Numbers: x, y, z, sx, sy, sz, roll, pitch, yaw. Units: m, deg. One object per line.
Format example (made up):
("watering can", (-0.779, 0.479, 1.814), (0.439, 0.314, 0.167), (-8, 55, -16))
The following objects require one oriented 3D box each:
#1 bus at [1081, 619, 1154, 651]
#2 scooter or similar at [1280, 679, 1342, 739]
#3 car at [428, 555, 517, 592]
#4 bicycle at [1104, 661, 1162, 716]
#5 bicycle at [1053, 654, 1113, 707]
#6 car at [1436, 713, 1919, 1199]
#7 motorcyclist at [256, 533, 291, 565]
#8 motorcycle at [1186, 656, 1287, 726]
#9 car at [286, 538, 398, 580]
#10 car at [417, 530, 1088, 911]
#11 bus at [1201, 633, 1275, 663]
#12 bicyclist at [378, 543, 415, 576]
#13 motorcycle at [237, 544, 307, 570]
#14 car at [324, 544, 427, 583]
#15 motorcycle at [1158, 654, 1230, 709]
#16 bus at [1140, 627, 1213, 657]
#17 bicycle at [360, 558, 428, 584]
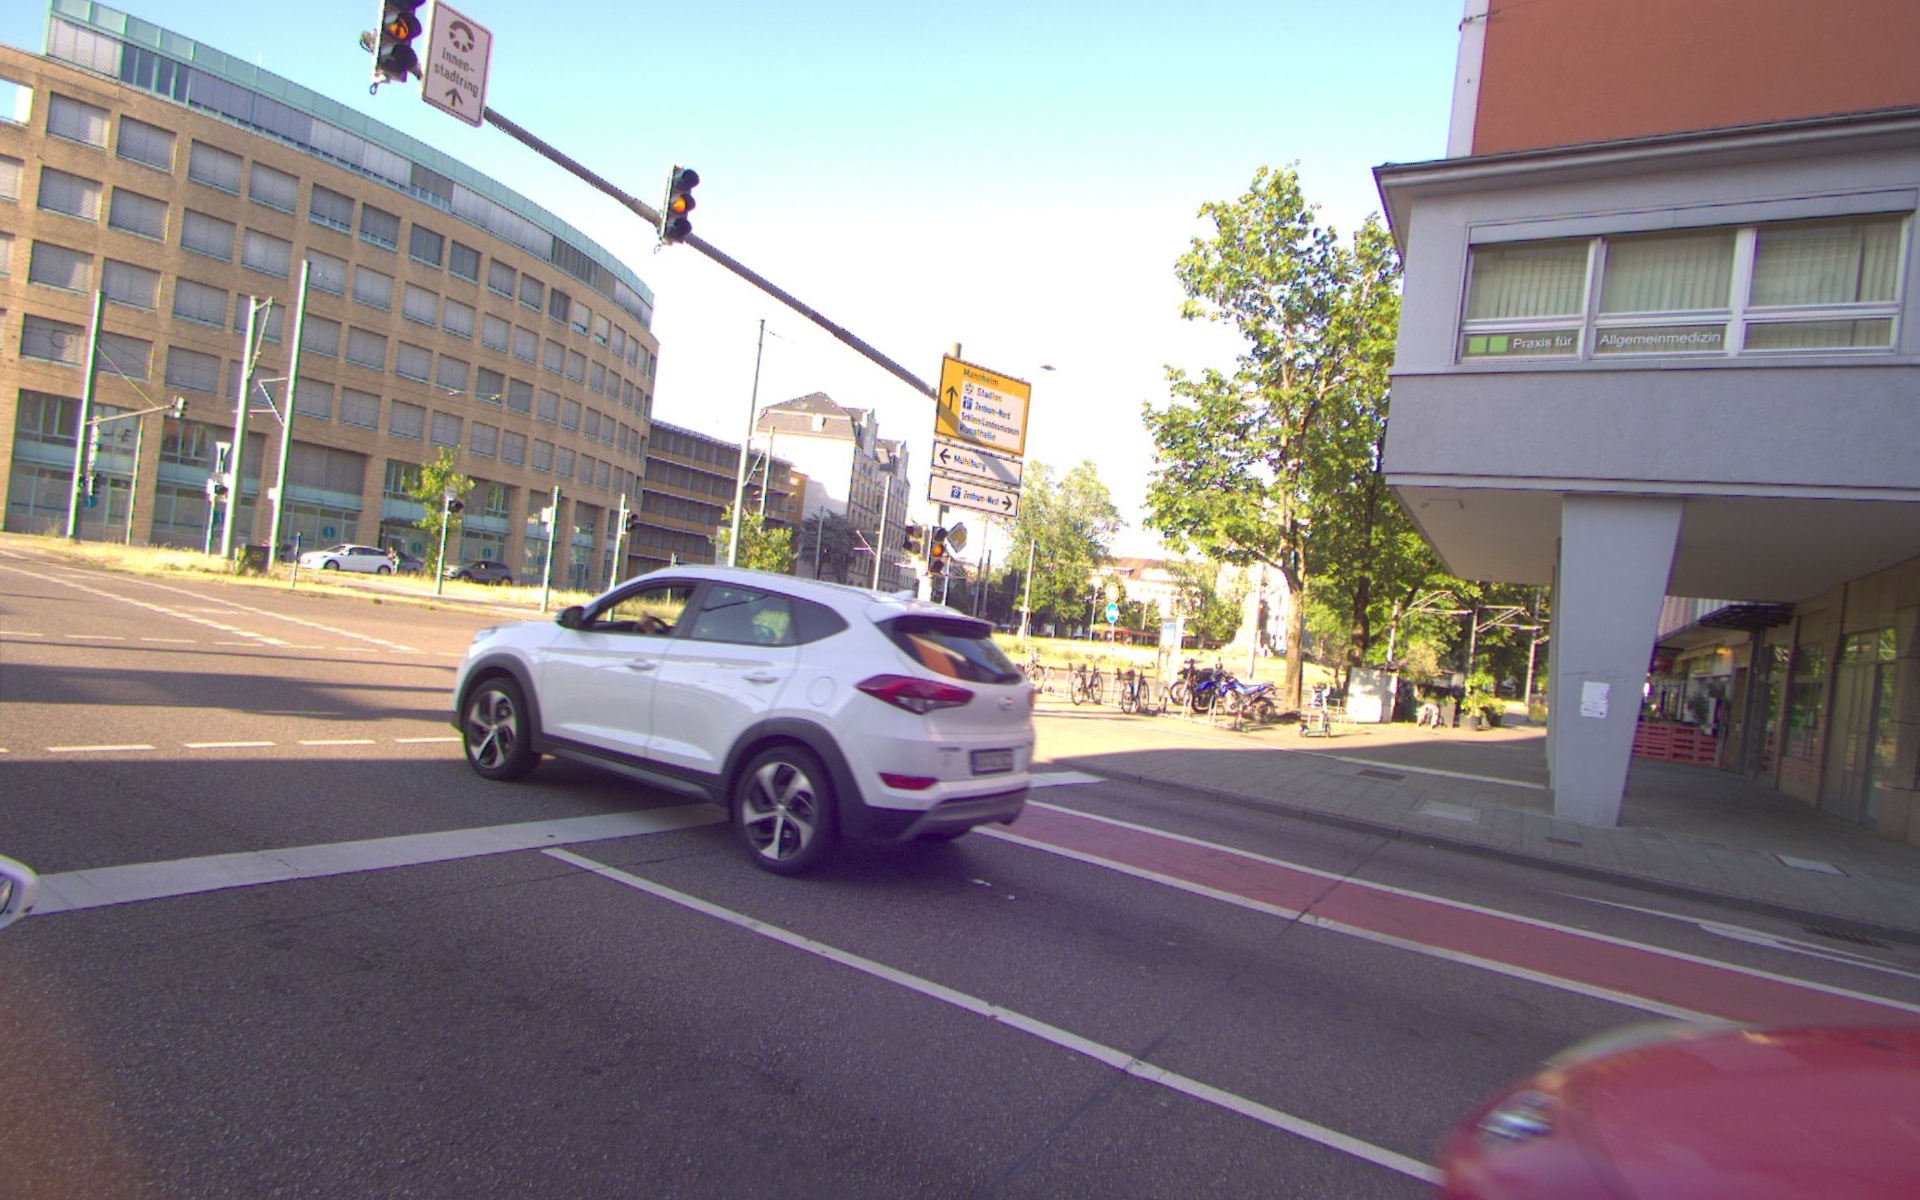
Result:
("bus", (22.221, 4.950, 141.474), (11.002, 3.248, 2.391), (7, -1, -32))
("scooter or similar", (7.884, 2.448, 22.587), (1.549, 1.251, 0.479), (6, 1, -40))
("car", (-26.955, -1.448, 55.740), (1.790, 1.509, 4.058), (6, -1, 30))
("bicycle", (3.988, 1.998, 23.075), (0.583, 1.129, 2.058), (7, 1, 28))
("bicycle", (2.917, 1.861, 23.694), (0.584, 1.129, 2.003), (7, 1, 29))
("car", (2.645, 1.136, 0.897), (3.934, 1.479, 1.673), (6, -2, 32))
("motorcyclist", (-35.162, -2.630, 51.529), (1.014, 1.453, 1.067), (6, 0, 31))
("motorcycle", (6.893, 2.244, 25.054), (2.224, 1.409, 0.845), (7, -1, 19))
("car", (-30.486, -2.009, 49.747), (1.961, 1.509, 4.171), (6, -1, 29))
("car", (-1.514, 0.625, 6.962), (4.197, 1.626, 1.921), (7, -1, 31))
("bus", (41.666, 7.186, 150.619), (10.918, 3.248, 2.344), (7, -1, -19))
("bicyclist", (-30.404, -2.169, 54.289), (1.134, 1.591, 1.225), (6, 0, 30))
("motorcycle", (-35.218, -2.184, 51.517), (1.014, 0.975, 2.722), (6, -1, 30))
("car", (-32.525, -1.986, 56.092), (1.953, 1.555, 4.488), (6, -1, 32))
("motorcycle", (6.487, 2.268, 27.856), (2.044, 1.324, 0.880), (7, -1, -44))
("bus", (31.650, 6.137, 146.613), (10.938, 3.248, 2.339), (7, -1, -25))
("bicycle", (-30.484, -1.558, 54.245), (1.134, 1.012, 2.966), (6, -1, 29))
